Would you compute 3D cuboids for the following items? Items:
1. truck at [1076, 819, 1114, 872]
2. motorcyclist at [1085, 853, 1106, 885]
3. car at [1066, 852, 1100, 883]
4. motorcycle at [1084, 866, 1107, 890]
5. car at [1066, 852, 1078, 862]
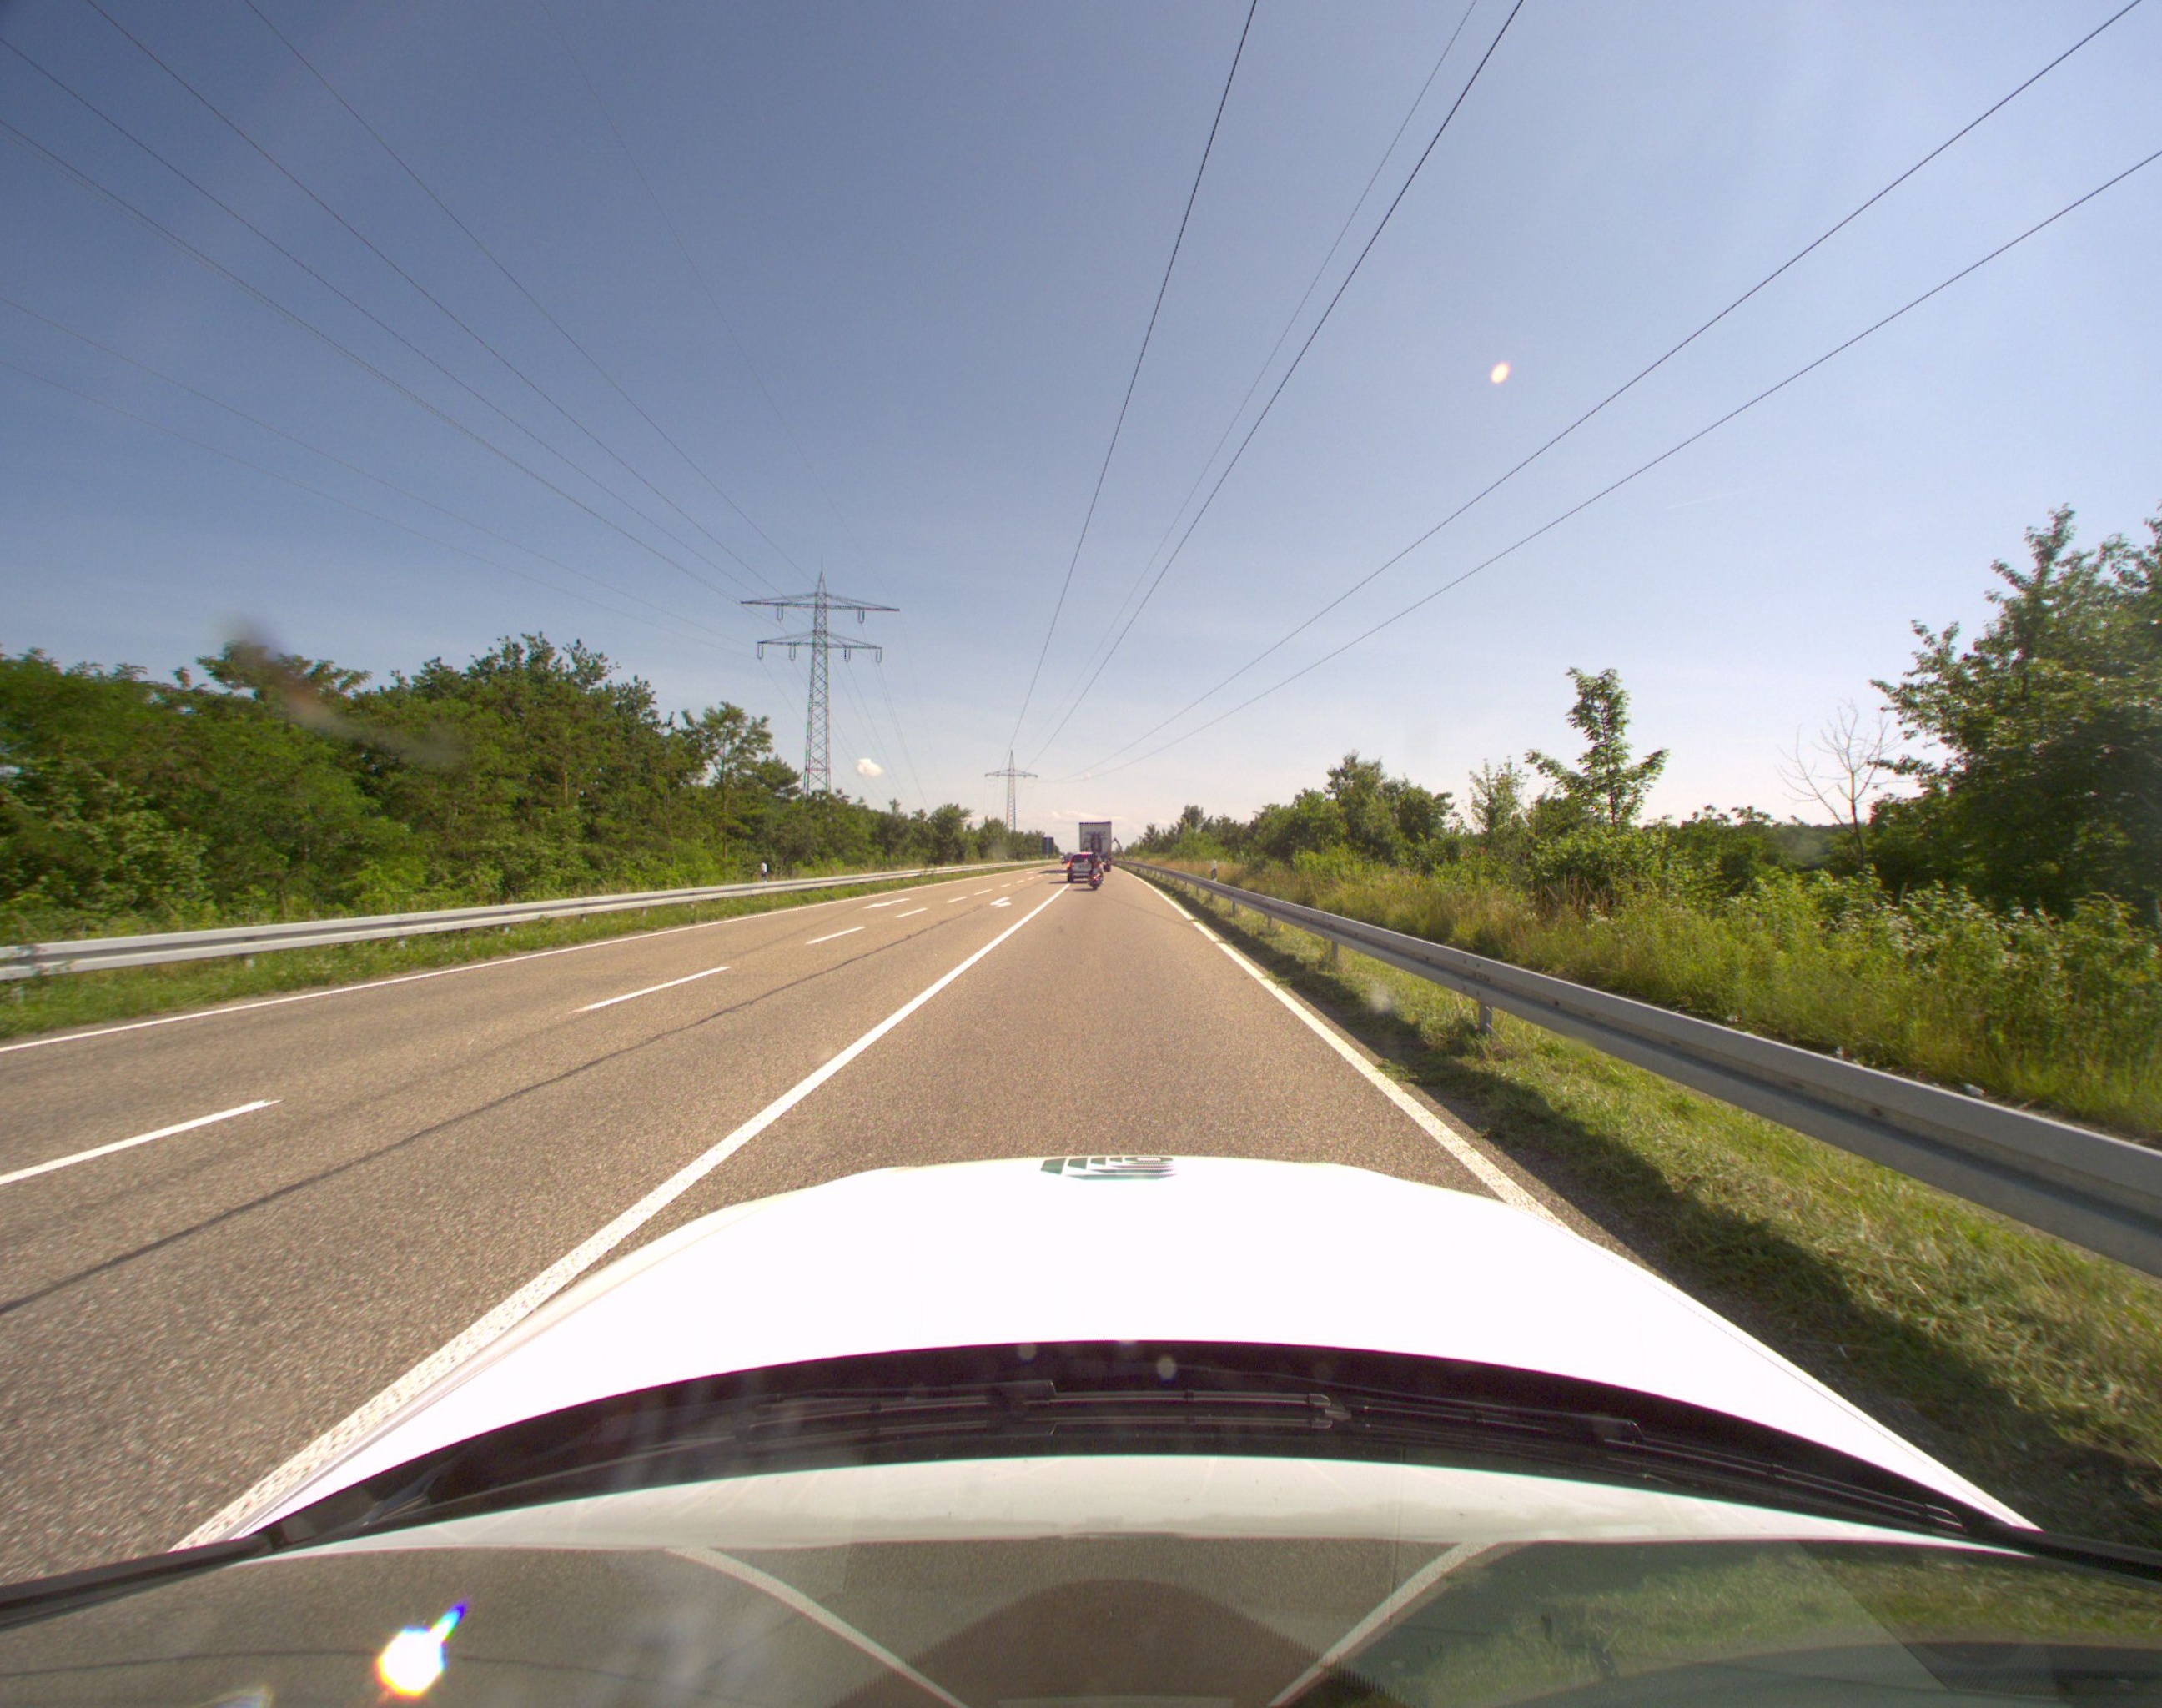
[{"bbox_3d":[1.396,-0.637,72.070,2.956,4.187,14.828,0,0,2],"label":"truck"},{"bbox_3d":[0.574,0.610,33.474,0.835,1.280,0.919,0,0,-1],"label":"motorcyclist"},{"bbox_3d":[0.156,0.660,42.510,1.695,1.536,3.500,0,0,1],"label":"car"},{"bbox_3d":[0.577,0.962,33.497,0.856,0.915,2.226,0,0,-1],"label":"motorcycle"},{"bbox_3d":[-1.448,0.505,133.282,1.721,1.491,4.423,-1,0,1],"label":"car"}]
